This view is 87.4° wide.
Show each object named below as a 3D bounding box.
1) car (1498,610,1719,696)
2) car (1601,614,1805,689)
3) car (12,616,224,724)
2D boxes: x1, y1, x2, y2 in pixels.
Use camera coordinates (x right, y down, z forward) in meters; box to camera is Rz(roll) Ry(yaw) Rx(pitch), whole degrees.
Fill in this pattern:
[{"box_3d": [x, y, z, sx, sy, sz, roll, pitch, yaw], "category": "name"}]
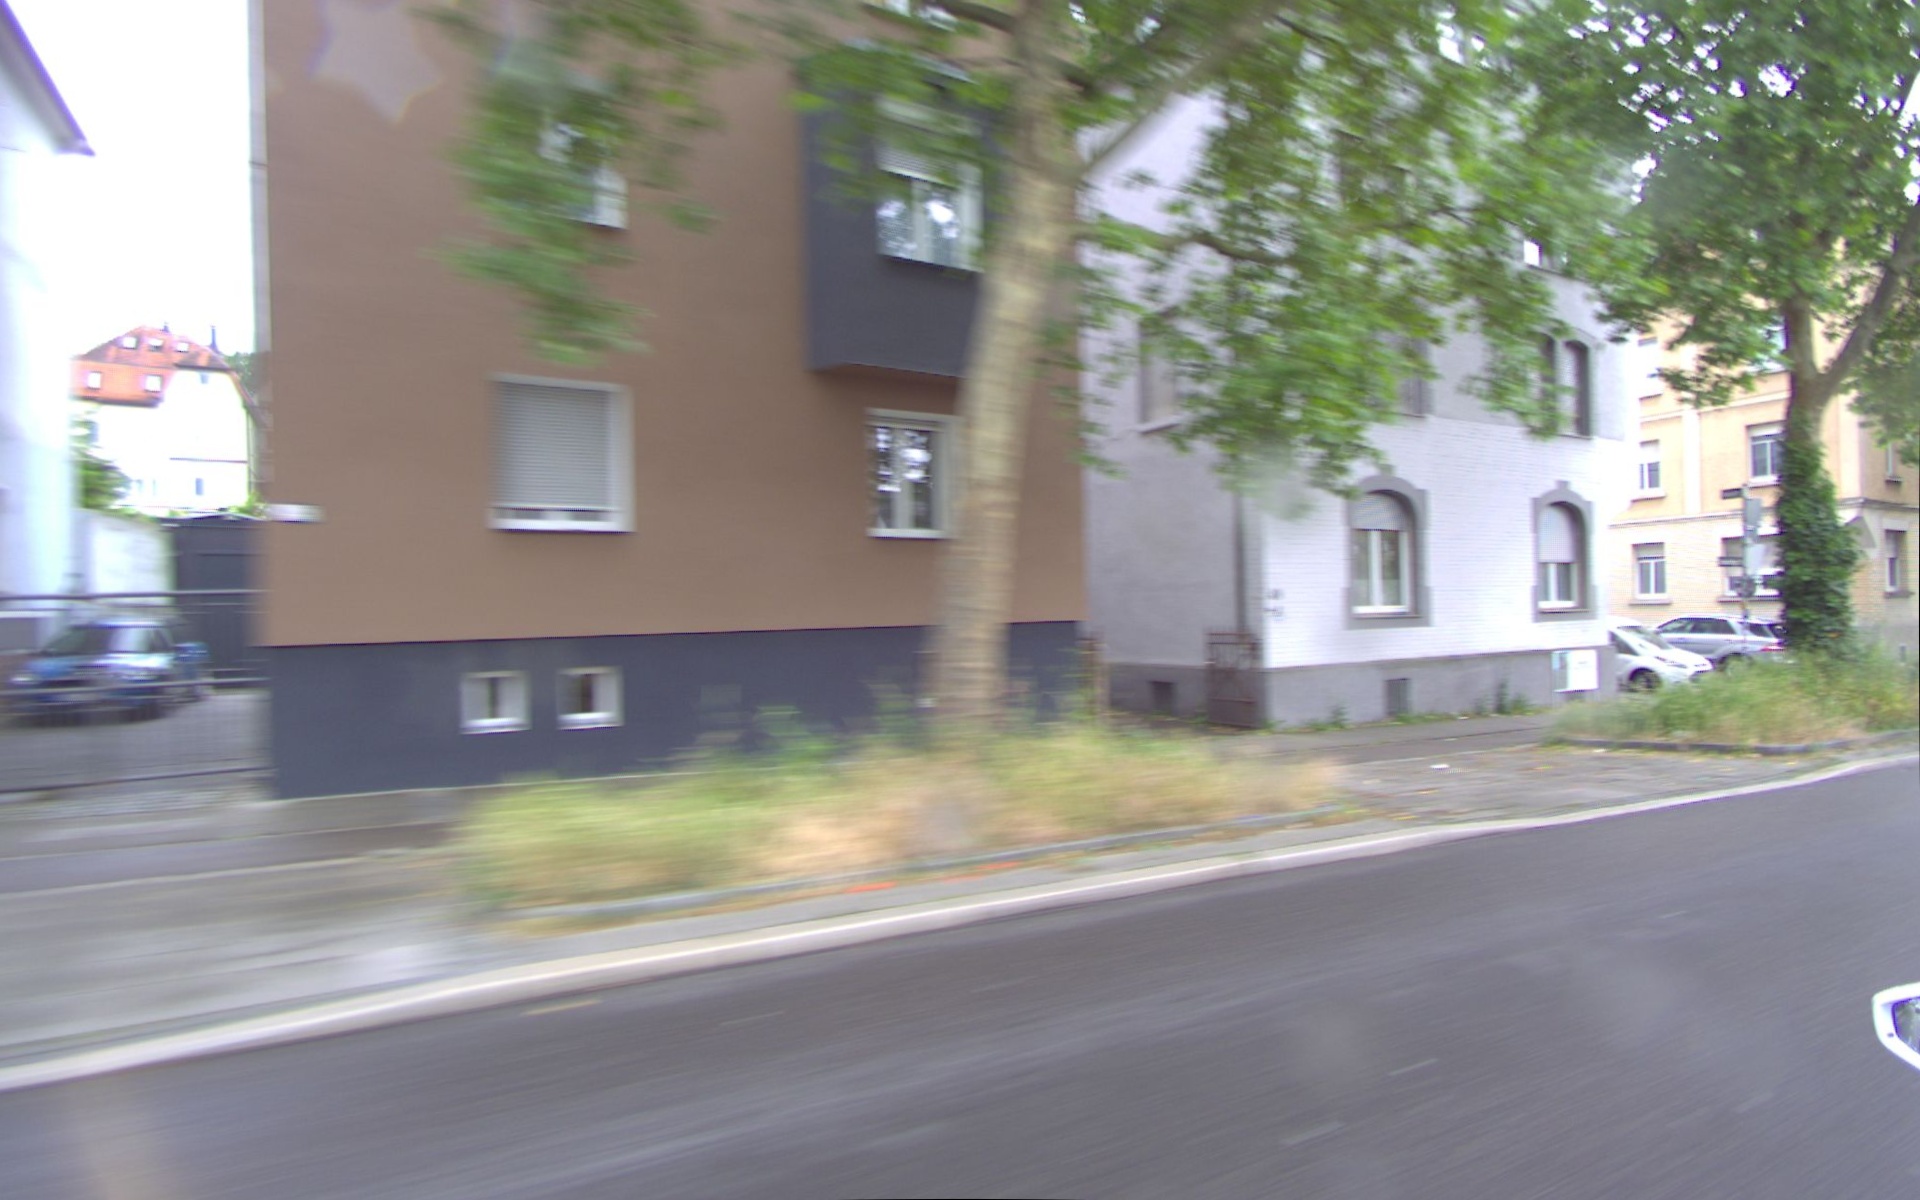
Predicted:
[{"box_3d": [15.921, 1.242, 24.876, 1.977, 1.917, 4.176, 1, -2, -30], "category": "car"}, {"box_3d": [20.622, 1.369, 28.059, 1.977, 1.917, 4.176, 1, -2, -30], "category": "car"}, {"box_3d": [-12.792, 0.996, 15.514, 1.716, 1.452, 3.624, 1, -2, -27], "category": "car"}]
